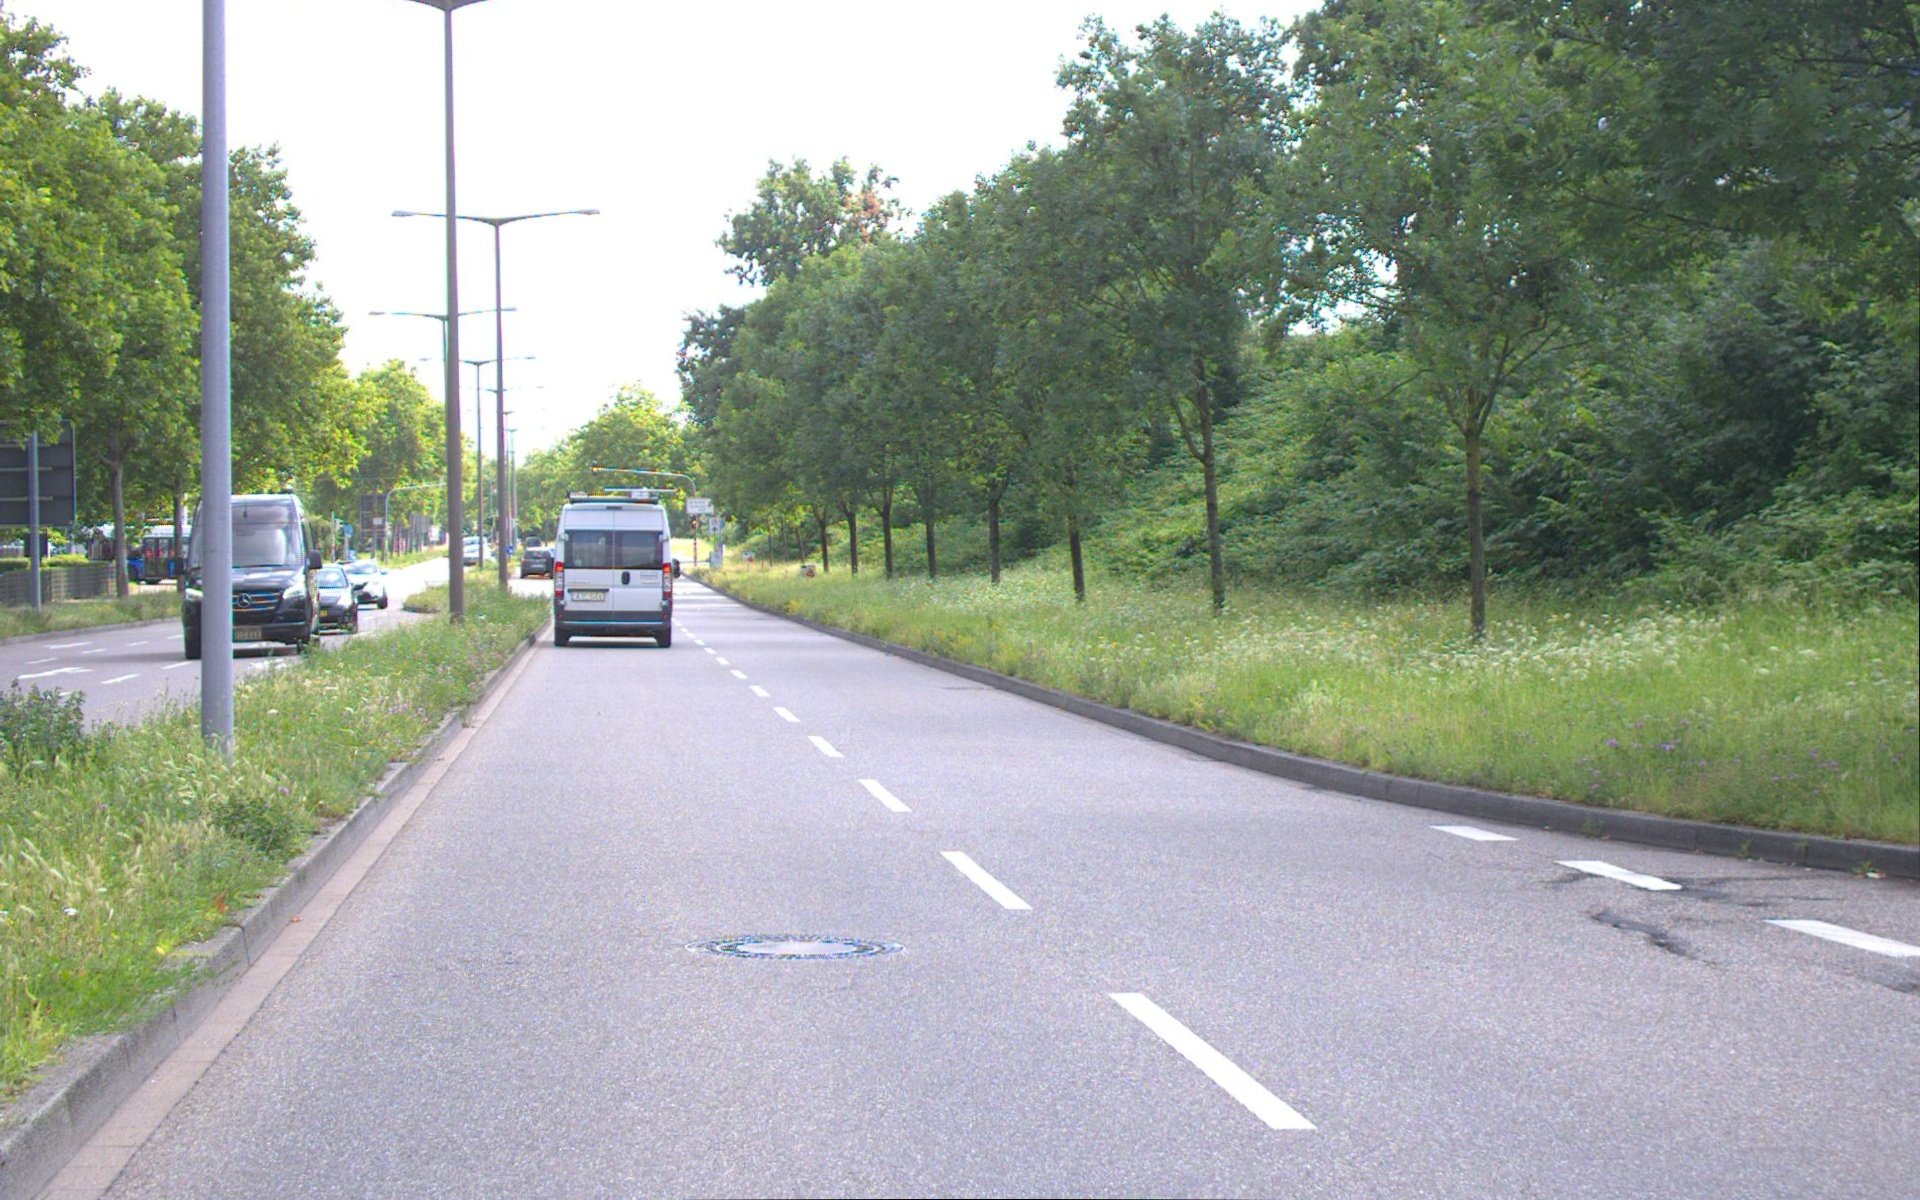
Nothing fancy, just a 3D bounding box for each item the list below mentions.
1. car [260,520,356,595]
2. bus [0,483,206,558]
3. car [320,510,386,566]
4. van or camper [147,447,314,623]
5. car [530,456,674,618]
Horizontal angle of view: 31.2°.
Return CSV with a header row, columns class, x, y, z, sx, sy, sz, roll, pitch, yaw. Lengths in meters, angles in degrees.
class,x,y,z,sx,sy,sz,roll,pitch,yaw
car,-13.471,-0.883,71.146,1.693,1.459,3.942,-2,1,-8
bus,-43.392,-3.875,170.099,12.312,3.263,3.116,-2,1,24
car,-19.211,-1.979,108.909,1.813,1.634,4.353,-3,2,-8
van or camper,-11.874,-1.065,56.341,2.104,2.650,6.719,-2,1,-8
car,-6.364,-1.163,60.700,2.197,2.716,4.933,0,2,-10
